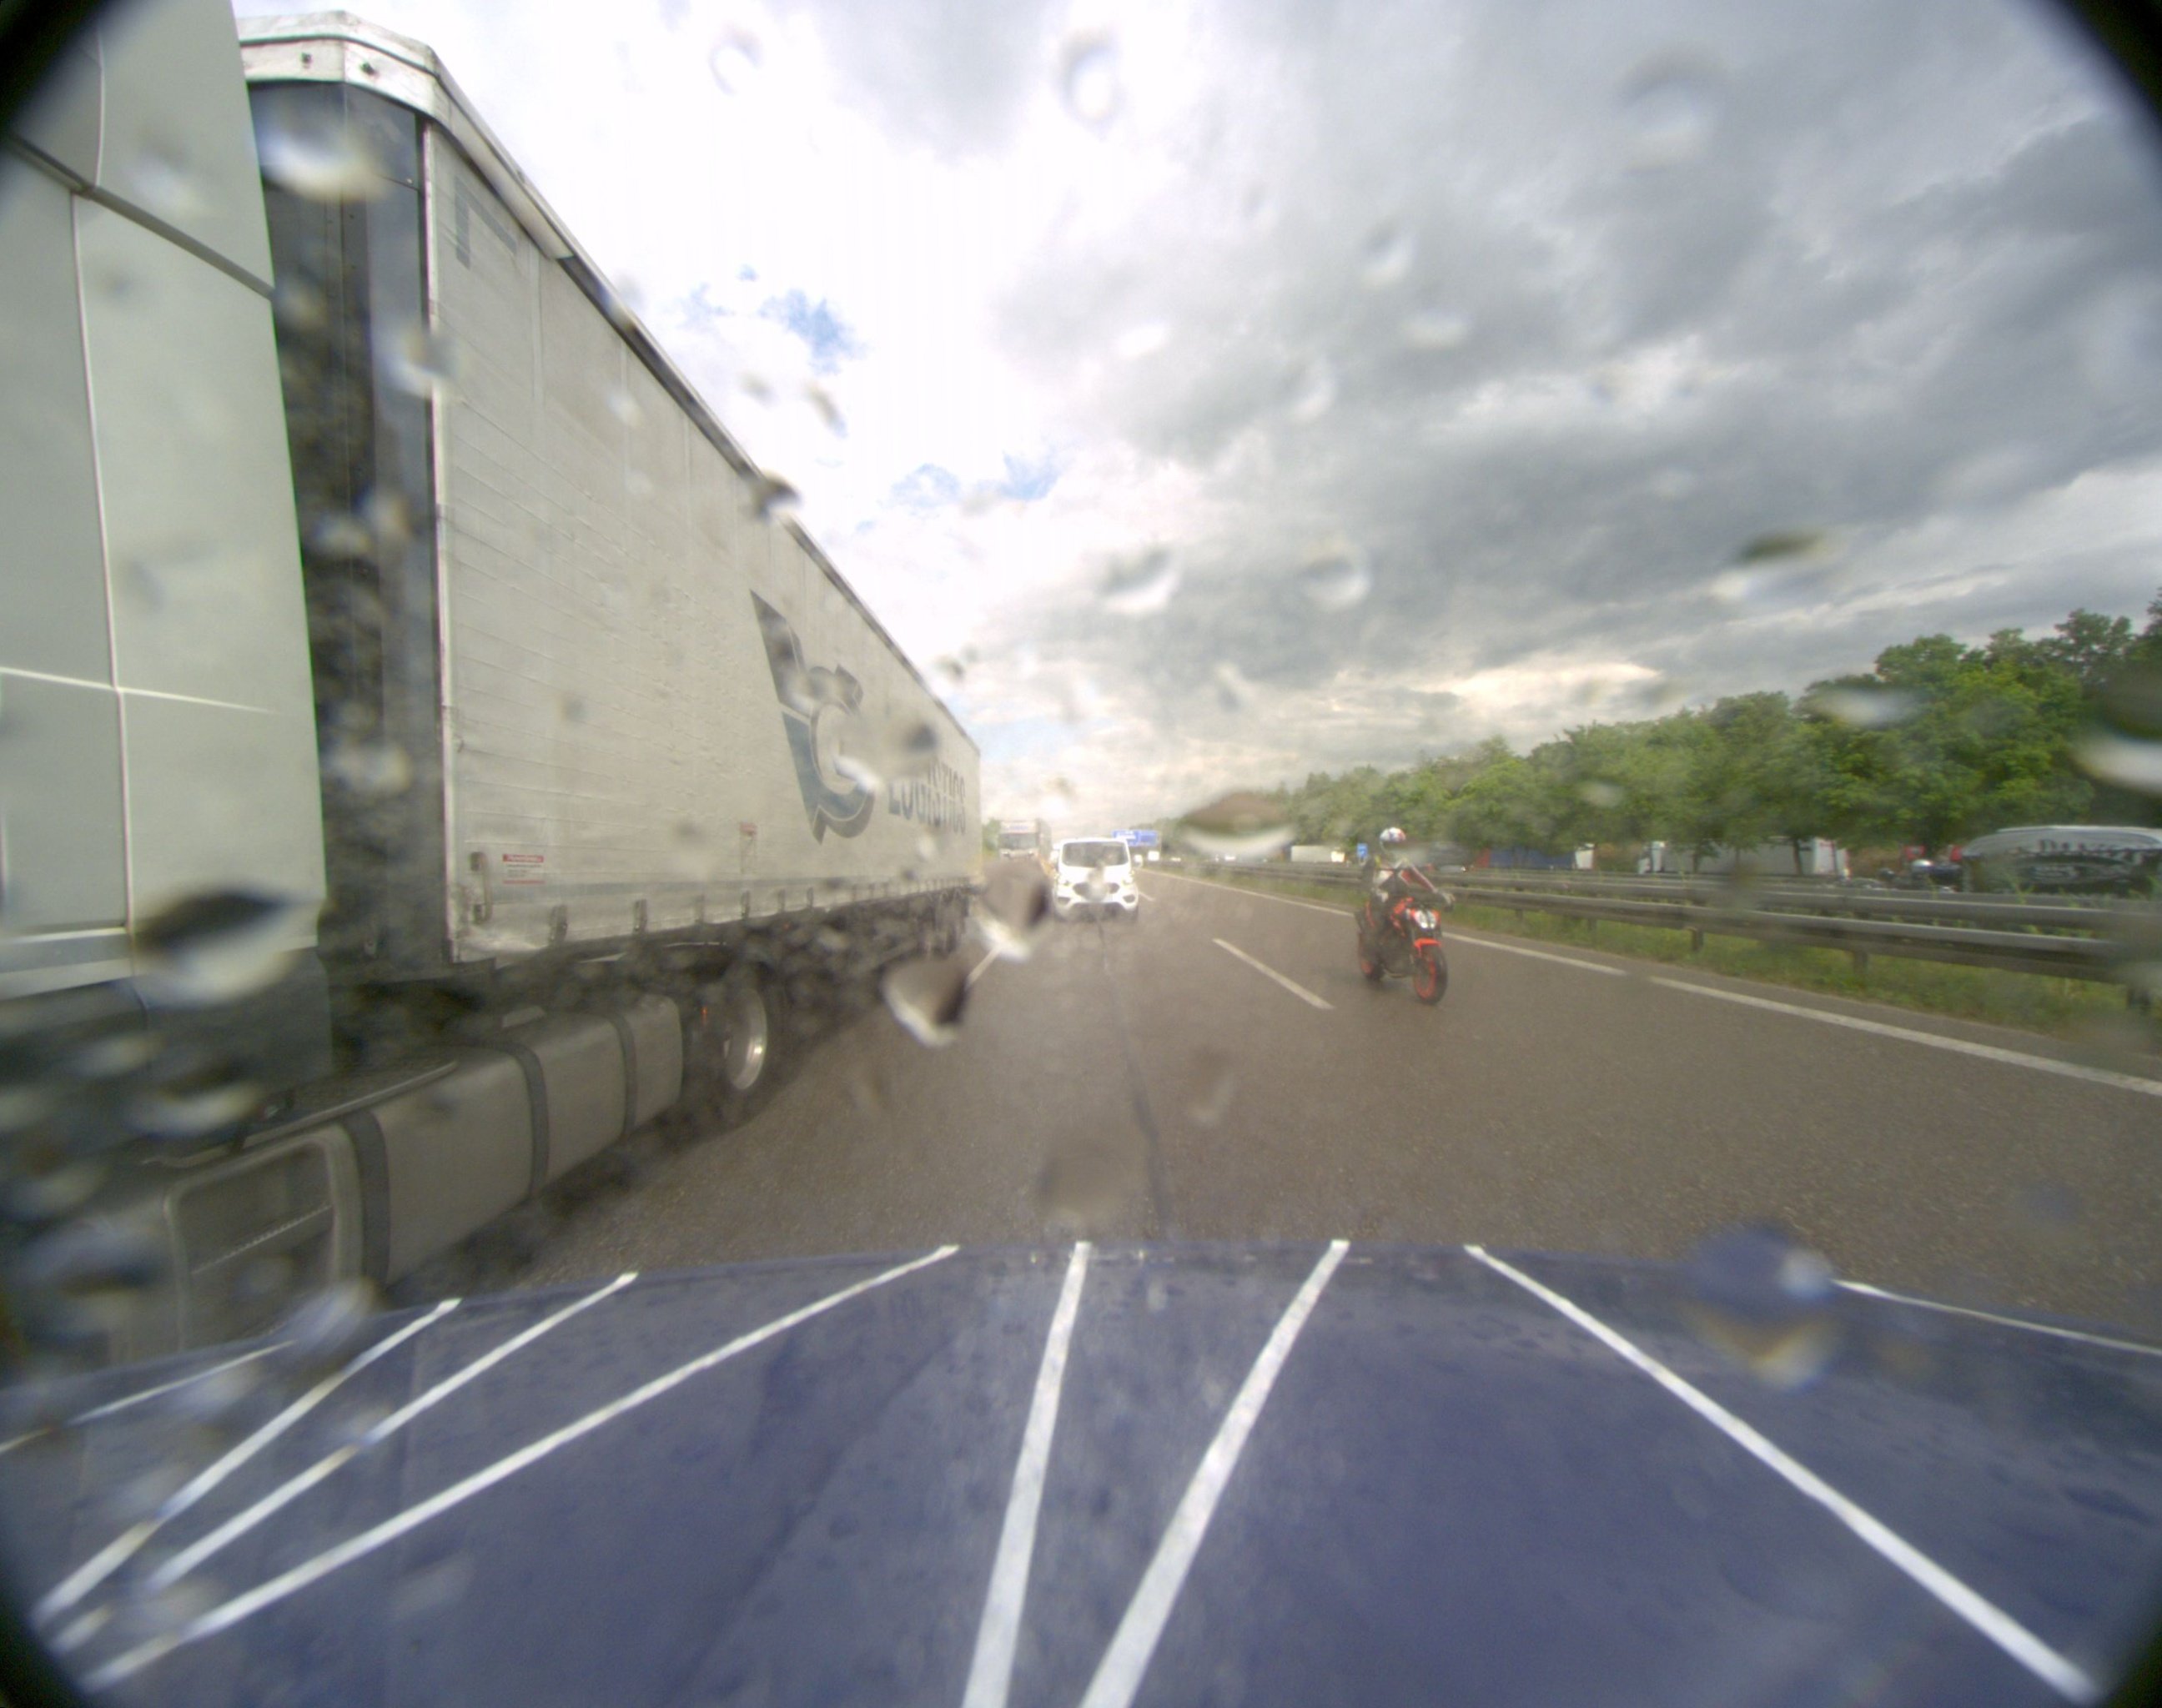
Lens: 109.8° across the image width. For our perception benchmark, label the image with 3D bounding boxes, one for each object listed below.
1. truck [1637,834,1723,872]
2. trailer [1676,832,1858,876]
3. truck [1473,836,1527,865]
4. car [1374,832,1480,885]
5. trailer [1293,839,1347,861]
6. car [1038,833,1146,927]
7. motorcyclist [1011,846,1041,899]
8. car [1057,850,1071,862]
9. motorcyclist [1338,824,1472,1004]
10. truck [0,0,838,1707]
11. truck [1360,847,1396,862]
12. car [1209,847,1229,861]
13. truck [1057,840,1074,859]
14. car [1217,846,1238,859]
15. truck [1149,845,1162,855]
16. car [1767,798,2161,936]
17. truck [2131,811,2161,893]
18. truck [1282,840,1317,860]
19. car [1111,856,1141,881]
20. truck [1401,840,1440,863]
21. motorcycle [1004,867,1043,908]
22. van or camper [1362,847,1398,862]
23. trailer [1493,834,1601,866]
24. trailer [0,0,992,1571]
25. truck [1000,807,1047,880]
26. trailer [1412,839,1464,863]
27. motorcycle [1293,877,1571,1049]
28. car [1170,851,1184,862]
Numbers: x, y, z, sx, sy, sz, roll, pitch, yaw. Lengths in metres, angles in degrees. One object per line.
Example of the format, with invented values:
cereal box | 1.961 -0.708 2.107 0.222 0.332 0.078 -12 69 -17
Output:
truck | 55.118 -0.121 70.075 3.362 3.254 5.505 -2 1 -4
trailer | 55.437 -0.036 62.225 3.356 3.198 12.471 -1 0 -2
truck | 52.019 -0.466 94.516 2.869 3.436 5.892 -2 1 -7
car | 13.855 0.143 30.803 1.958 1.880 5.057 -2 1 0
trailer | 43.003 -0.749 137.453 3.216 3.717 12.553 -1 0 -14
car | 0.242 0.557 19.576 2.350 2.033 5.142 -2 1 0
motorcyclist | -1.833 0.601 25.452 0.883 1.696 1.000 -2 1 -2
car | -3.070 0.319 135.770 2.350 2.033 5.142 -2 1 0
motorcyclist | 3.289 0.571 7.808 0.883 1.696 1.000 -2 1 -2
truck | -3.475 -0.190 2.344 3.293 3.868 6.395 -2 0 -1
truck | 47.368 0.056 121.353 2.126 2.252 6.311 -2 1 -13
car | 21.073 -0.017 116.244 2.052 1.880 5.258 -2 1 0
truck | -3.183 -0.982 156.218 3.218 3.607 10.152 -2 1 0
car | 21.244 -0.226 110.319 2.052 1.880 5.258 -2 1 0
truck | 20.491 -1.138 210.156 2.849 2.666 7.190 -2 1 1
car | 16.983 0.120 14.345 2.179 2.034 6.499 -2 1 0
truck | 56.841 -0.127 35.561 3.797 4.210 8.416 -2 1 1
truck | 41.371 -0.782 143.829 3.219 3.683 6.907 -2 1 -14
car | 4.104 1.305 70.174 2.350 2.033 5.142 -2 1 0
truck | 49.272 -0.387 110.416 2.663 3.249 5.081 -2 1 -10
motorcycle | -1.902 1.083 25.531 1.188 1.142 3.193 -2 1 -3
van or camper | 47.601 0.050 121.237 2.126 2.252 6.316 -2 1 -13
trailer | 52.921 -0.455 87.028 2.832 3.385 13.417 -1 0 -7
trailer | -3.511 -0.214 8.839 3.292 3.876 14.126 -2 0 -1
truck | -3.584 -0.643 48.427 2.650 4.250 6.882 -2 1 -3
trailer | 50.011 -0.382 106.680 2.588 3.214 7.734 -1 1 -10
motorcycle | 3.300 0.932 7.754 1.188 1.219 3.193 -2 1 -3
car | 18.512 0.463 146.336 2.052 1.880 5.258 -2 1 0
